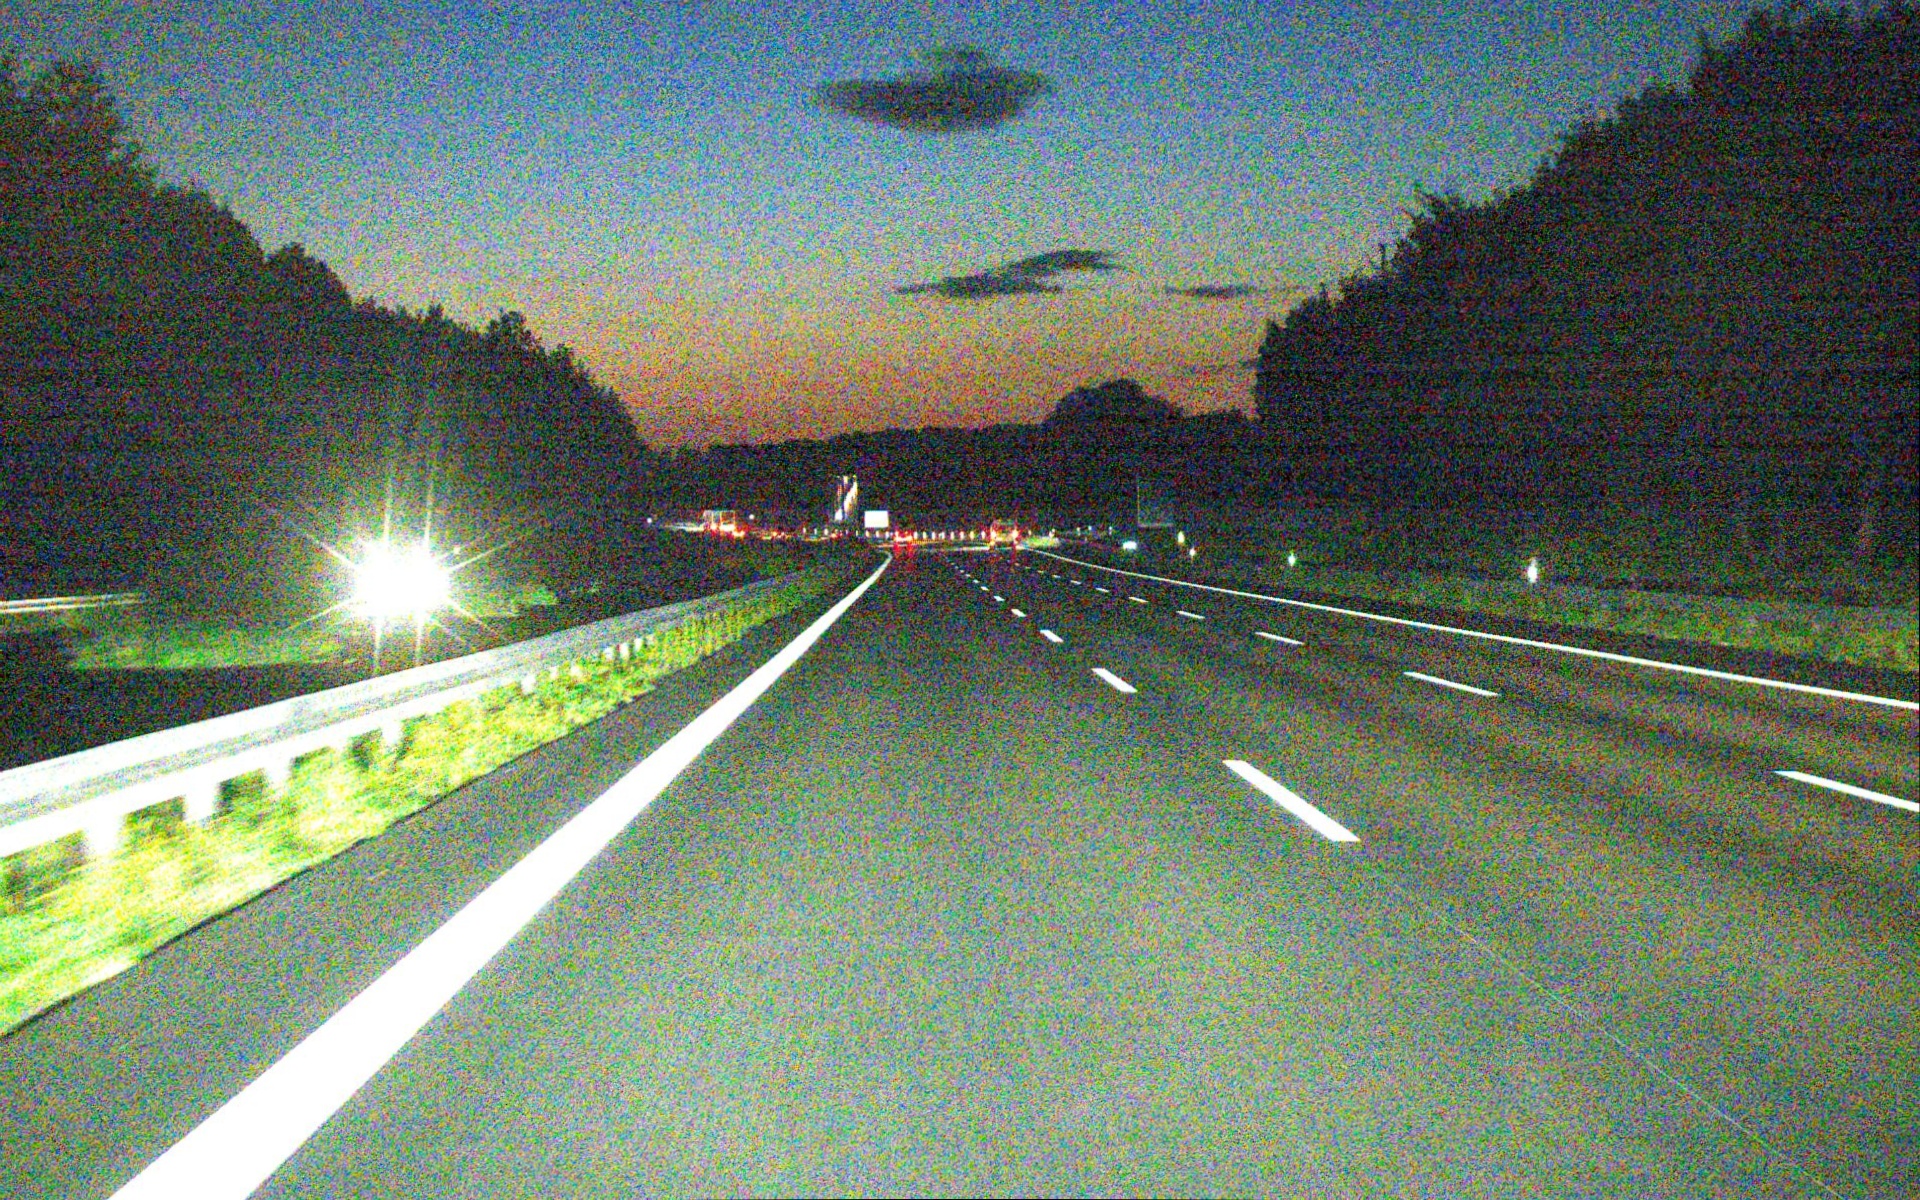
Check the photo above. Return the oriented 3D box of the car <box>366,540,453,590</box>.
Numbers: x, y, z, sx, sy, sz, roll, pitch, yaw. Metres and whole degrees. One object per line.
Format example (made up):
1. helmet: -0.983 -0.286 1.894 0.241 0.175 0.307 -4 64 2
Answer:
1. car: -17.718 -1.152 110.812 1.993 1.498 5.201 -2 1 -1
